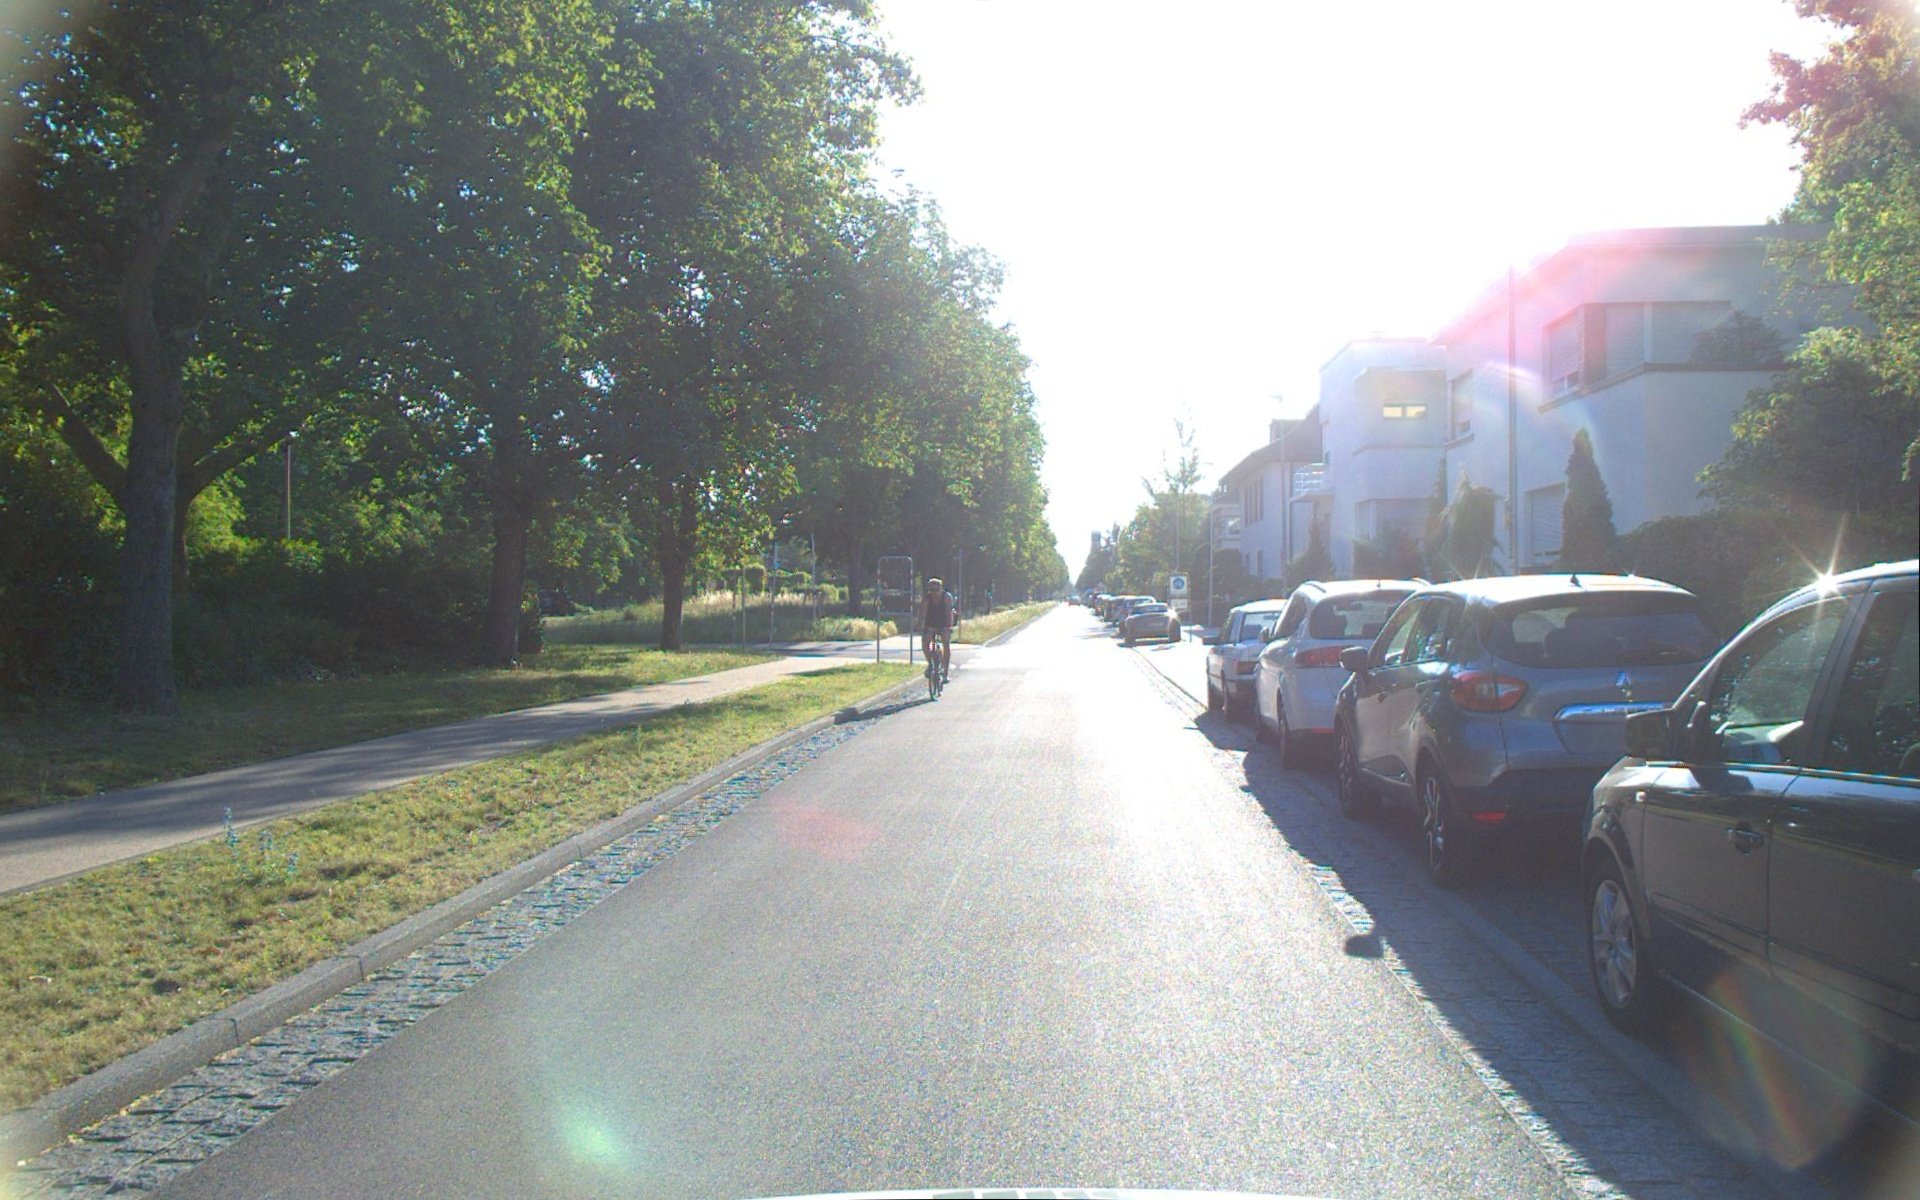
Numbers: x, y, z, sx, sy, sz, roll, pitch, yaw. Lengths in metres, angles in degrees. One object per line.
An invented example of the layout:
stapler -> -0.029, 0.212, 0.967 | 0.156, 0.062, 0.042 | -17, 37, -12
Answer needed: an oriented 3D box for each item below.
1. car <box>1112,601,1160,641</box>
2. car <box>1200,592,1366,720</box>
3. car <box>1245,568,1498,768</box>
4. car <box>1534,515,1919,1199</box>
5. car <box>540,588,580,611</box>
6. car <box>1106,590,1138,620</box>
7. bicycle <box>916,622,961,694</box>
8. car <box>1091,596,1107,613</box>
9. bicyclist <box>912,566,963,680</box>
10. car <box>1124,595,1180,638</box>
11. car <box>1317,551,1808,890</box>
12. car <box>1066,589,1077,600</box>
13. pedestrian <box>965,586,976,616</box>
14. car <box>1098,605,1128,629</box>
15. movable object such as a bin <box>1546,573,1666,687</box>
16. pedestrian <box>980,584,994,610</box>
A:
car -> 7.325, 0.856, 69.182 | 1.708, 1.500, 3.924 | -3, 0, 3
car -> 3.989, 0.629, 20.998 | 1.531, 1.414, 4.376 | -2, 0, 4
car -> 3.690, 0.551, 15.488 | 1.643, 1.583, 4.133 | -2, 0, 5
car -> 2.972, 0.599, 4.257 | 1.674, 1.639, 4.170 | -2, 0, 3
car -> -28.513, -0.026, 117.977 | 1.657, 1.625, 4.223 | 0, 0, 3
car -> 8.717, 0.260, 89.205 | 1.593, 1.531, 3.635 | -2, 0, 5
bicycle -> -0.322, 0.878, 25.463 | 0.544, 1.050, 1.916 | -1, -1, 4
car -> 13.249, 0.445, 157.175 | 1.466, 1.594, 3.268 | 0, 0, 5
bicyclist -> -0.344, 0.355, 25.411 | 0.667, 1.702, 1.173 | -1, -1, 3
car -> 6.691, 0.552, 57.897 | 1.737, 1.311, 4.275 | -3, 1, 4
car -> 3.326, 0.575, 9.993 | 1.643, 1.583, 4.146 | -2, 0, 4
car -> 16.713, -0.859, 248.346 | 1.617, 1.568, 3.268 | 1, 0, 4
pedestrian -> 0.648, 0.057, 103.993 | 0.611, 1.863, 0.887 | 0, 0, 7
car -> 9.732, 1.060, 105.332 | 1.700, 1.474, 4.198 | -2, -1, 3
movable object such as a bin -> 8.492, 0.378, 21.785 | 1.211, 1.457, 1.124 | 0, 0, 6
pedestrian -> 1.689, -0.177, 104.225 | 0.766, 1.643, 0.952 | 0, 0, 7
